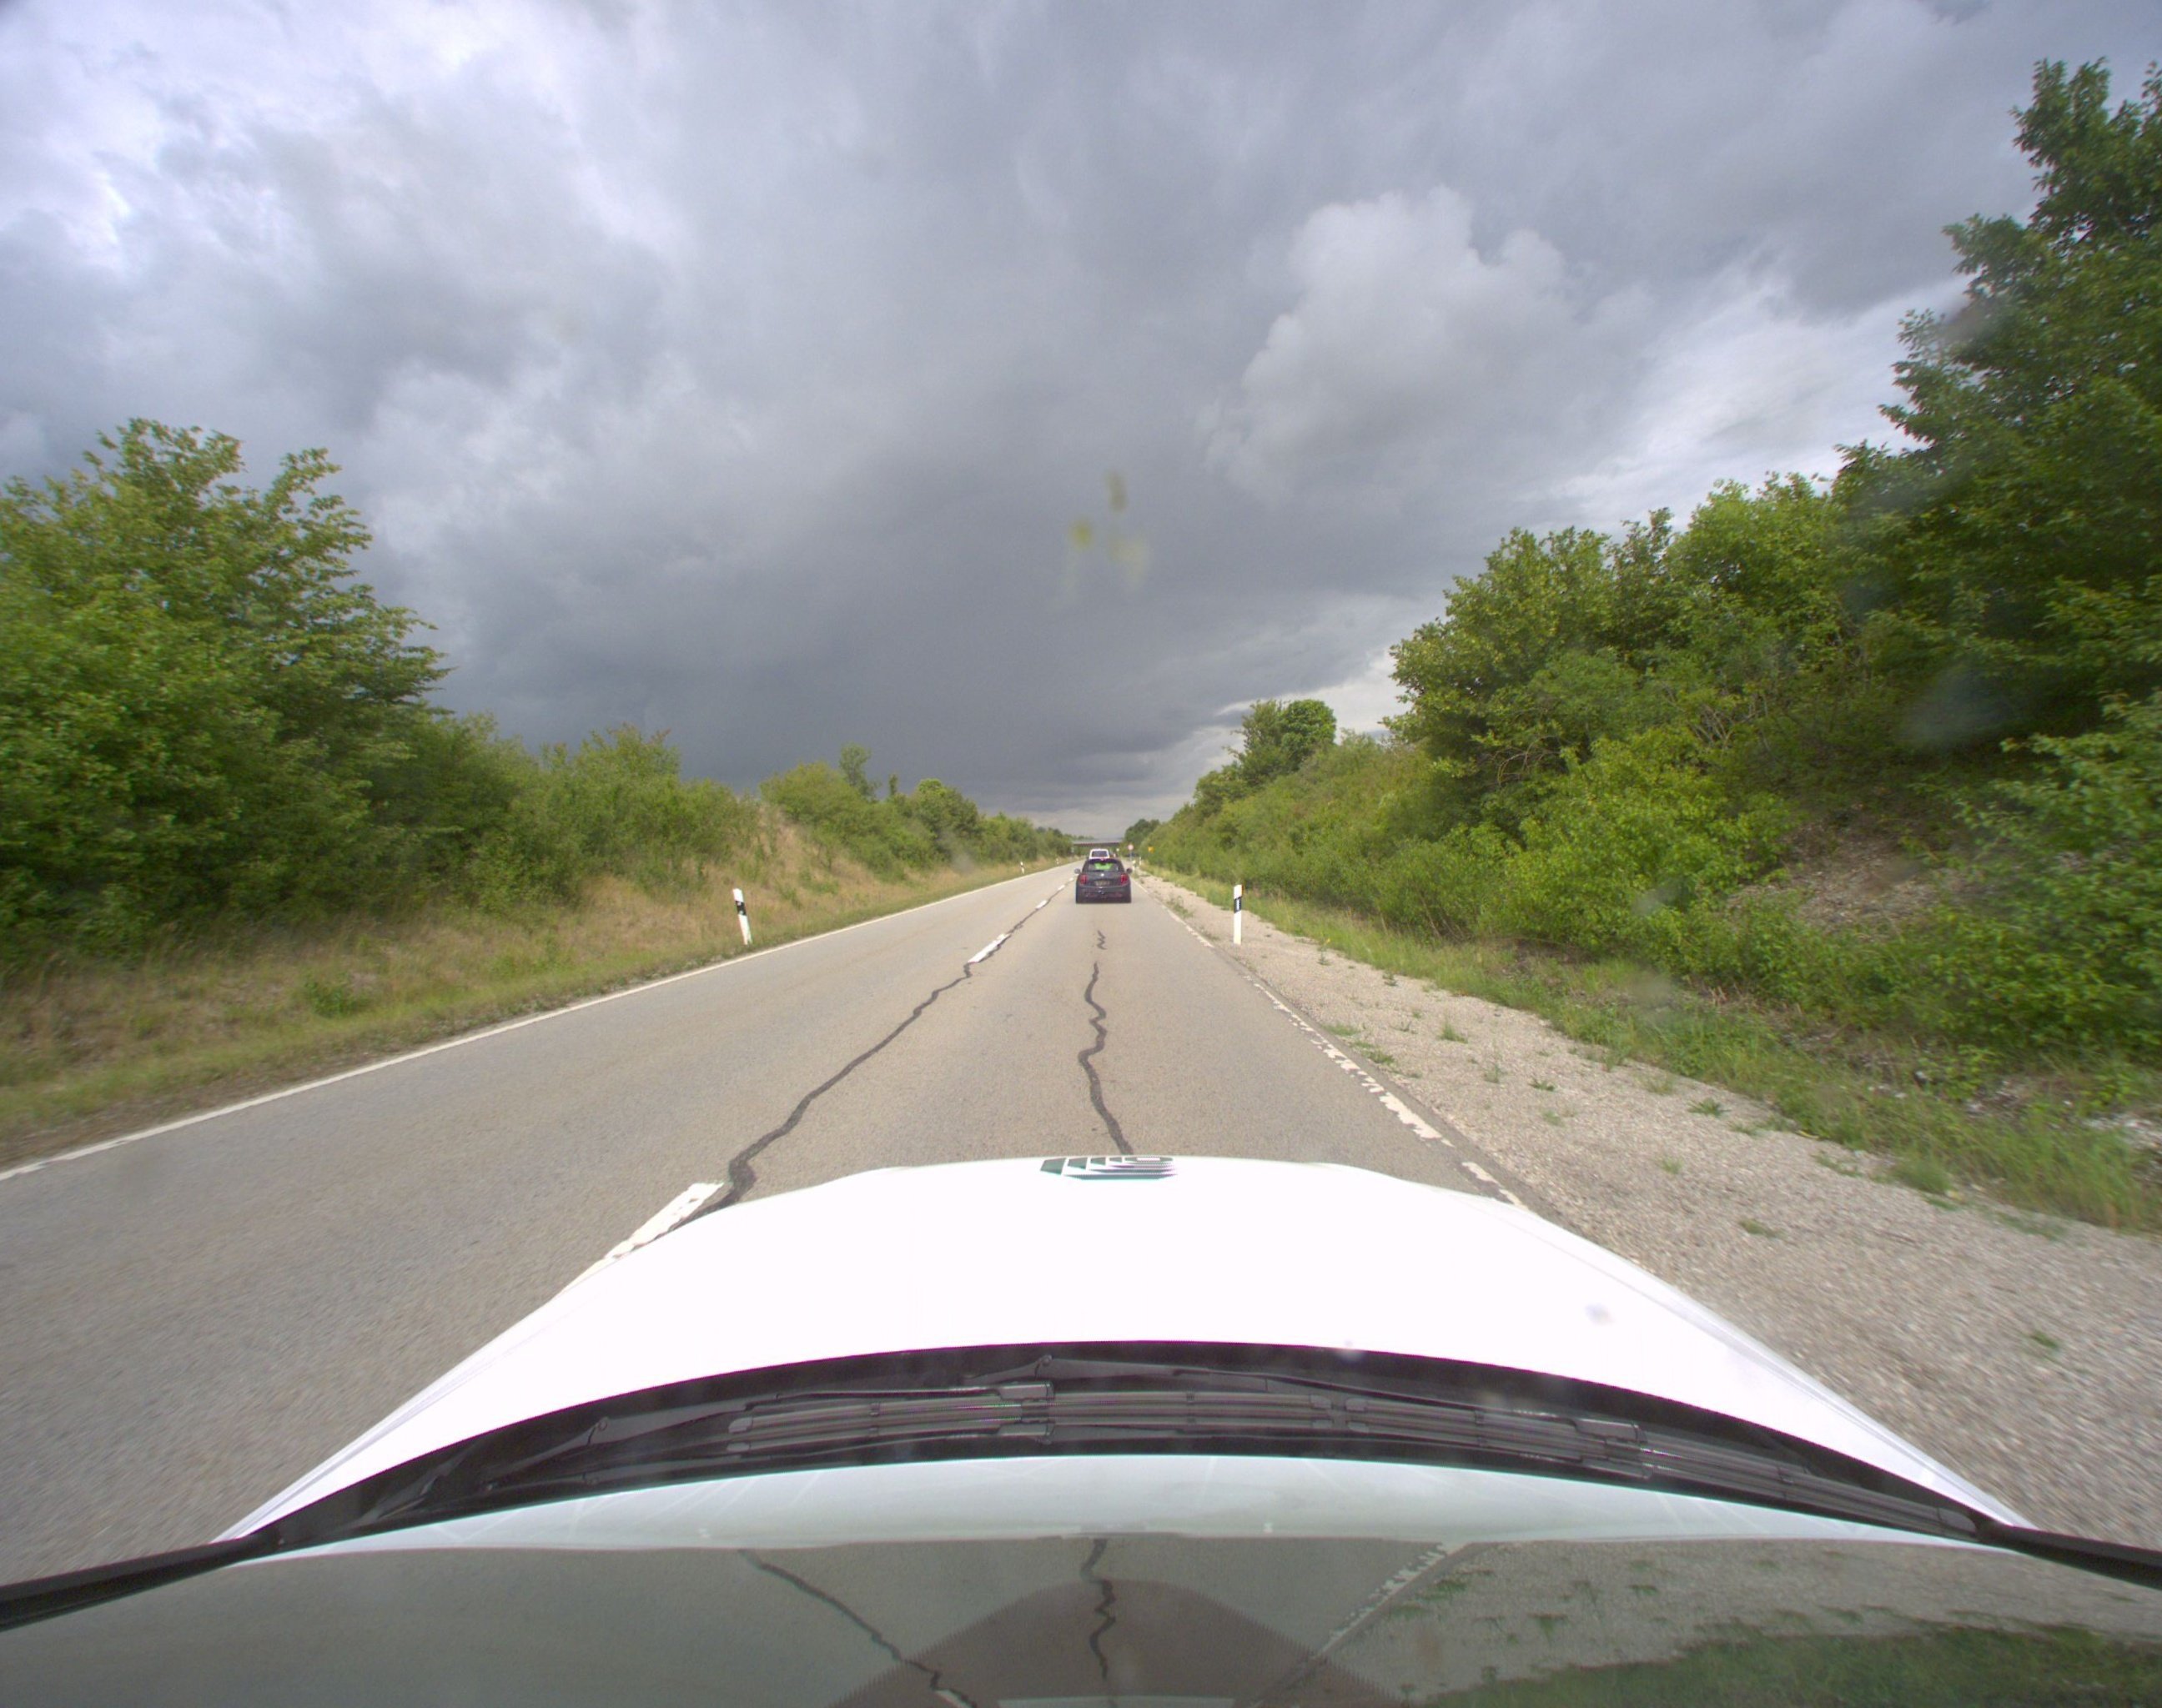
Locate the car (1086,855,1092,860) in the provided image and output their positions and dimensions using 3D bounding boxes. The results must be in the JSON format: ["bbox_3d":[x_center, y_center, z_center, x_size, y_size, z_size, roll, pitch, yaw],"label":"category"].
[{"bbox_3d":[2.329,1.061,247.117,1.695,1.330,4.000,-2,0,1],"label":"car"}]

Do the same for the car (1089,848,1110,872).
[{"bbox_3d":[1.613,0.511,71.513,1.813,2.054,4.001,0,0,1],"label":"car"}]

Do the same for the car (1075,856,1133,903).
[{"bbox_3d":[0.741,0.770,26.776,1.750,1.427,4.001,0,0,1],"label":"car"}]
